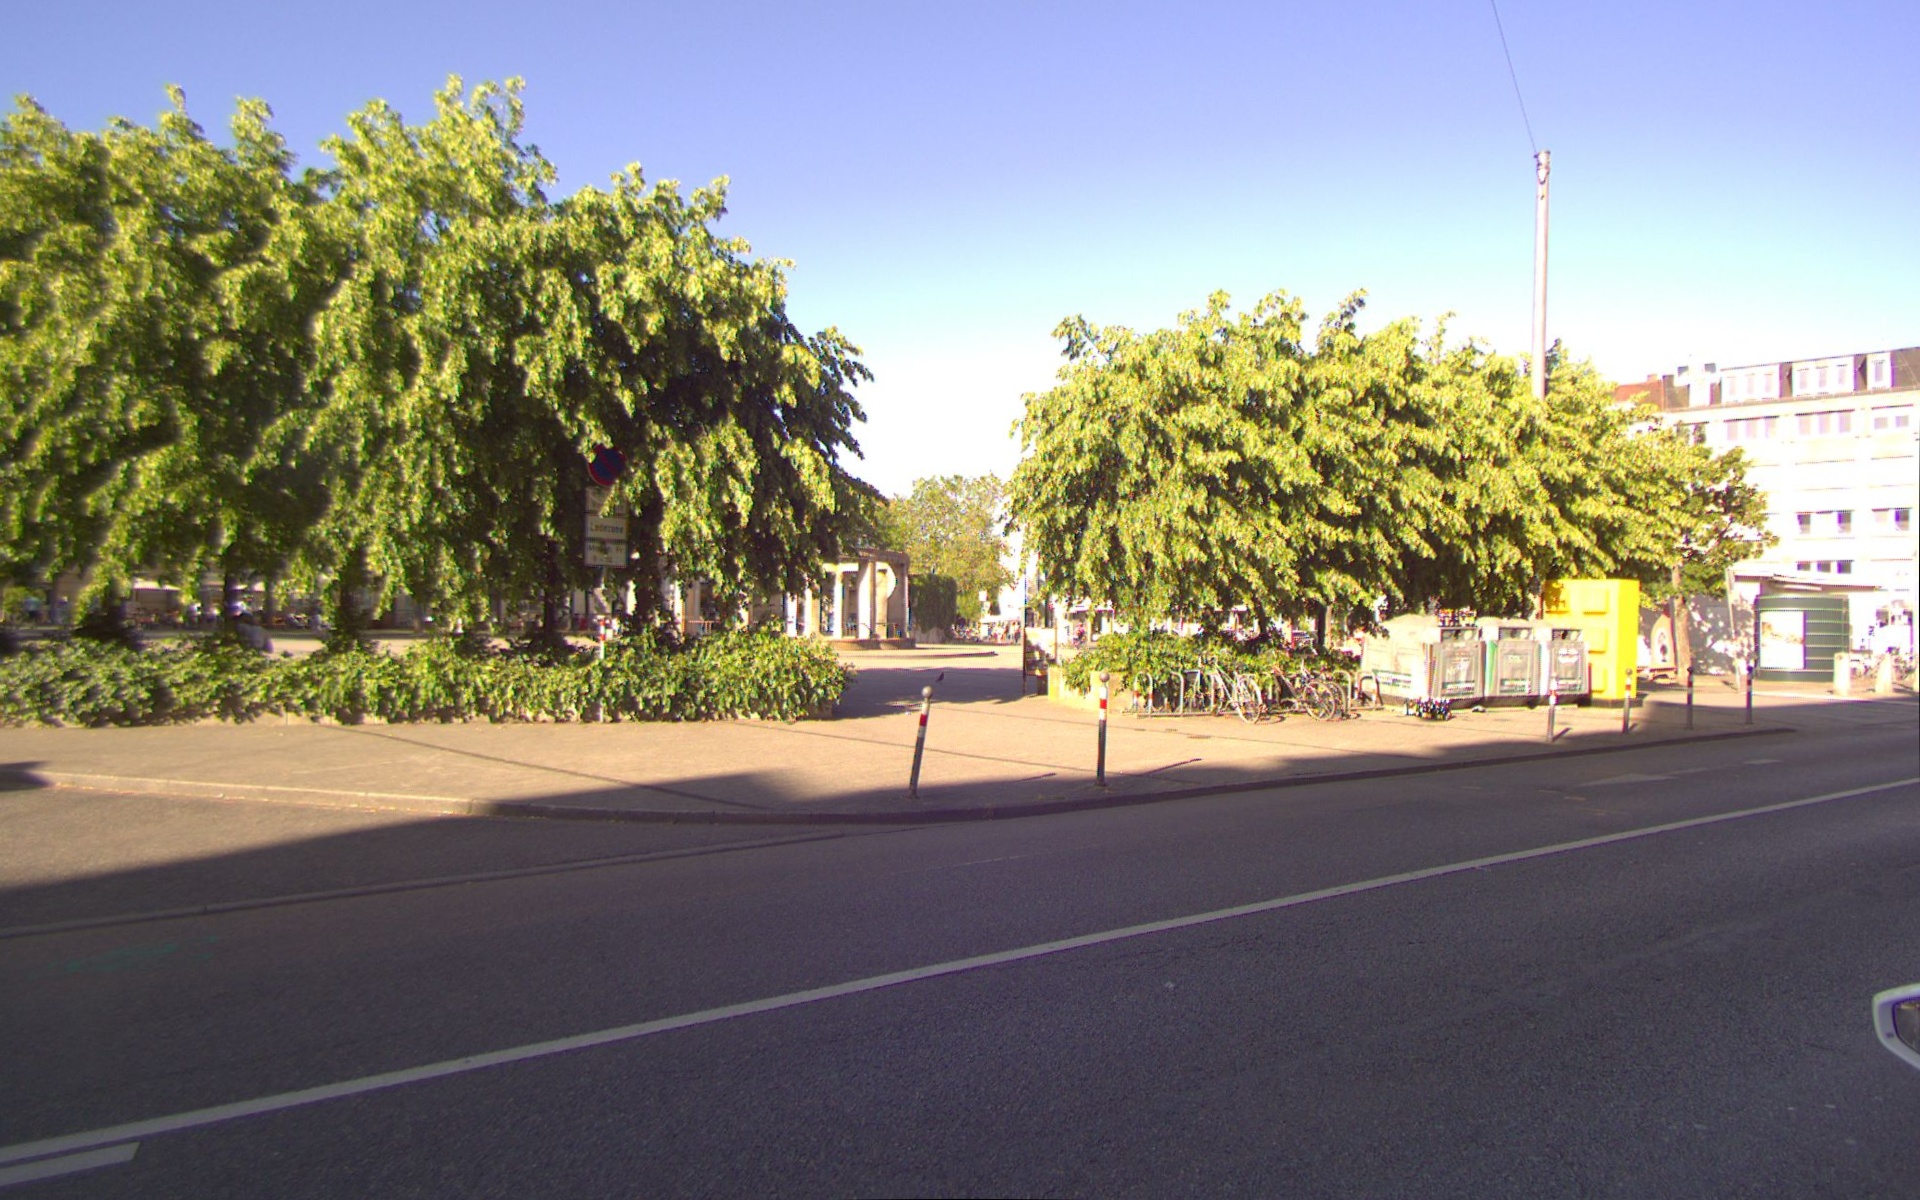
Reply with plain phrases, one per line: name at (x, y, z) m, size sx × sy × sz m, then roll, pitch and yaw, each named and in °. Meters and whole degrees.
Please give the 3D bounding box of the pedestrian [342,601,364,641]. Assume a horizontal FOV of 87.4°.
pedestrian at (-26.932, 0.909, 44.567) m, size 0.599 × 1.744 × 0.644 m, roll 2°, pitch 0°, yaw 37°

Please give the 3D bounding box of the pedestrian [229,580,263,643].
pedestrian at (-20.109, 0.328, 28.289) m, size 0.599 × 1.744 × 0.644 m, roll 2°, pitch 0°, yaw 41°

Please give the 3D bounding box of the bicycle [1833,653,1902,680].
bicycle at (30.811, 2.250, 34.121) m, size 0.600 × 0.802 × 1.634 m, roll 2°, pitch 0°, yaw -33°

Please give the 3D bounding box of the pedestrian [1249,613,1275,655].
pedestrian at (12.705, 1.421, 42.248) m, size 0.774 × 1.720 × 0.763 m, roll 1°, pitch 0°, yaw -6°

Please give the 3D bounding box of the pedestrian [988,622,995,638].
pedestrian at (3.920, 3.712, 125.596) m, size 0.629 × 1.974 × 0.675 m, roll 2°, pitch 0°, yaw -13°

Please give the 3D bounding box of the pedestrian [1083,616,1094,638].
pedestrian at (12.730, 2.661, 99.457) m, size 0.860 × 2.199 × 0.902 m, roll 2°, pitch 0°, yaw -5°

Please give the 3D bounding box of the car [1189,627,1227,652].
car at (14.882, 2.355, 60.410) m, size 1.658 × 1.405 × 3.575 m, roll 1°, pitch -1°, yaw 5°

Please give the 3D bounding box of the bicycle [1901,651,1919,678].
bicycle at (35.144, 2.339, 36.080) m, size 0.599 × 0.946 × 1.854 m, roll 2°, pitch 0°, yaw -30°

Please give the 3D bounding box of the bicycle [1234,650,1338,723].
bicycle at (5.241, 1.365, 16.290) m, size 0.508 × 1.016 × 1.923 m, roll 2°, pitch 0°, yaw -20°

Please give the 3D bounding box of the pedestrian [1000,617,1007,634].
pedestrian at (5.140, 3.012, 120.015) m, size 0.629 × 1.974 × 0.675 m, roll 2°, pitch 0°, yaw -13°

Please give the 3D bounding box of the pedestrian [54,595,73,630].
pedestrian at (-44.438, 0.625, 49.767) m, size 0.600 × 1.744 × 0.643 m, roll 2°, pitch 0°, yaw 45°

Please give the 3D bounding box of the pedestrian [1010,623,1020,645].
pedestrian at (4.590, 2.835, 83.827) m, size 0.718 × 1.862 × 0.697 m, roll 2°, pitch 0°, yaw -5°

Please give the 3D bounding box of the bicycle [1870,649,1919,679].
bicycle at (33.160, 2.243, 35.137) m, size 0.599 × 0.946 × 1.855 m, roll 1°, pitch 0°, yaw -30°

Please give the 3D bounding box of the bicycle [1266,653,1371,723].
bicycle at (5.816, 1.405, 16.411) m, size 0.508 × 0.968 × 1.898 m, roll 2°, pitch 0°, yaw -20°

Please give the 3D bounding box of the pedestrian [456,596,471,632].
pedestrian at (-27.812, 0.795, 56.277) m, size 0.669 × 1.974 × 0.634 m, roll 2°, pitch 0°, yaw -33°

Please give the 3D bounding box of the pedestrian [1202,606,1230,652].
pedestrian at (11.527, 1.291, 45.245) m, size 0.875 × 2.040 × 0.896 m, roll 1°, pitch 0°, yaw -17°

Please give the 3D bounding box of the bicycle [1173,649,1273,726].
bicycle at (4.060, 1.329, 15.649) m, size 0.508 × 1.029 × 1.930 m, roll 2°, pitch 0°, yaw -19°

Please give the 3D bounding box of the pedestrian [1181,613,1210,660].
pedestrian at (10.412, 1.626, 44.415) m, size 0.875 × 2.040 × 0.896 m, roll 1°, pitch 0°, yaw -17°

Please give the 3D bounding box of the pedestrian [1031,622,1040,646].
pedestrian at (6.421, 2.904, 85.501) m, size 0.628 × 1.974 × 0.676 m, roll 2°, pitch 0°, yaw -7°

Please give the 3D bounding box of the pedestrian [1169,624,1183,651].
pedestrian at (14.208, 2.436, 66.073) m, size 0.741 × 1.740 × 0.854 m, roll 1°, pitch -1°, yaw 4°

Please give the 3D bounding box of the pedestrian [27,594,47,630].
pedestrian at (-45.762, 0.608, 49.800) m, size 0.600 × 1.744 × 0.643 m, roll 2°, pitch 0°, yaw 45°

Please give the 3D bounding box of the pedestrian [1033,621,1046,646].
pedestrian at (6.576, 2.788, 83.132) m, size 0.860 × 2.040 × 0.902 m, roll 2°, pitch 0°, yaw -5°

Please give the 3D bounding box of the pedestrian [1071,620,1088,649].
pedestrian at (8.590, 2.479, 72.250) m, size 1.014 × 2.040 × 1.159 m, roll 2°, pitch 0°, yaw -5°
